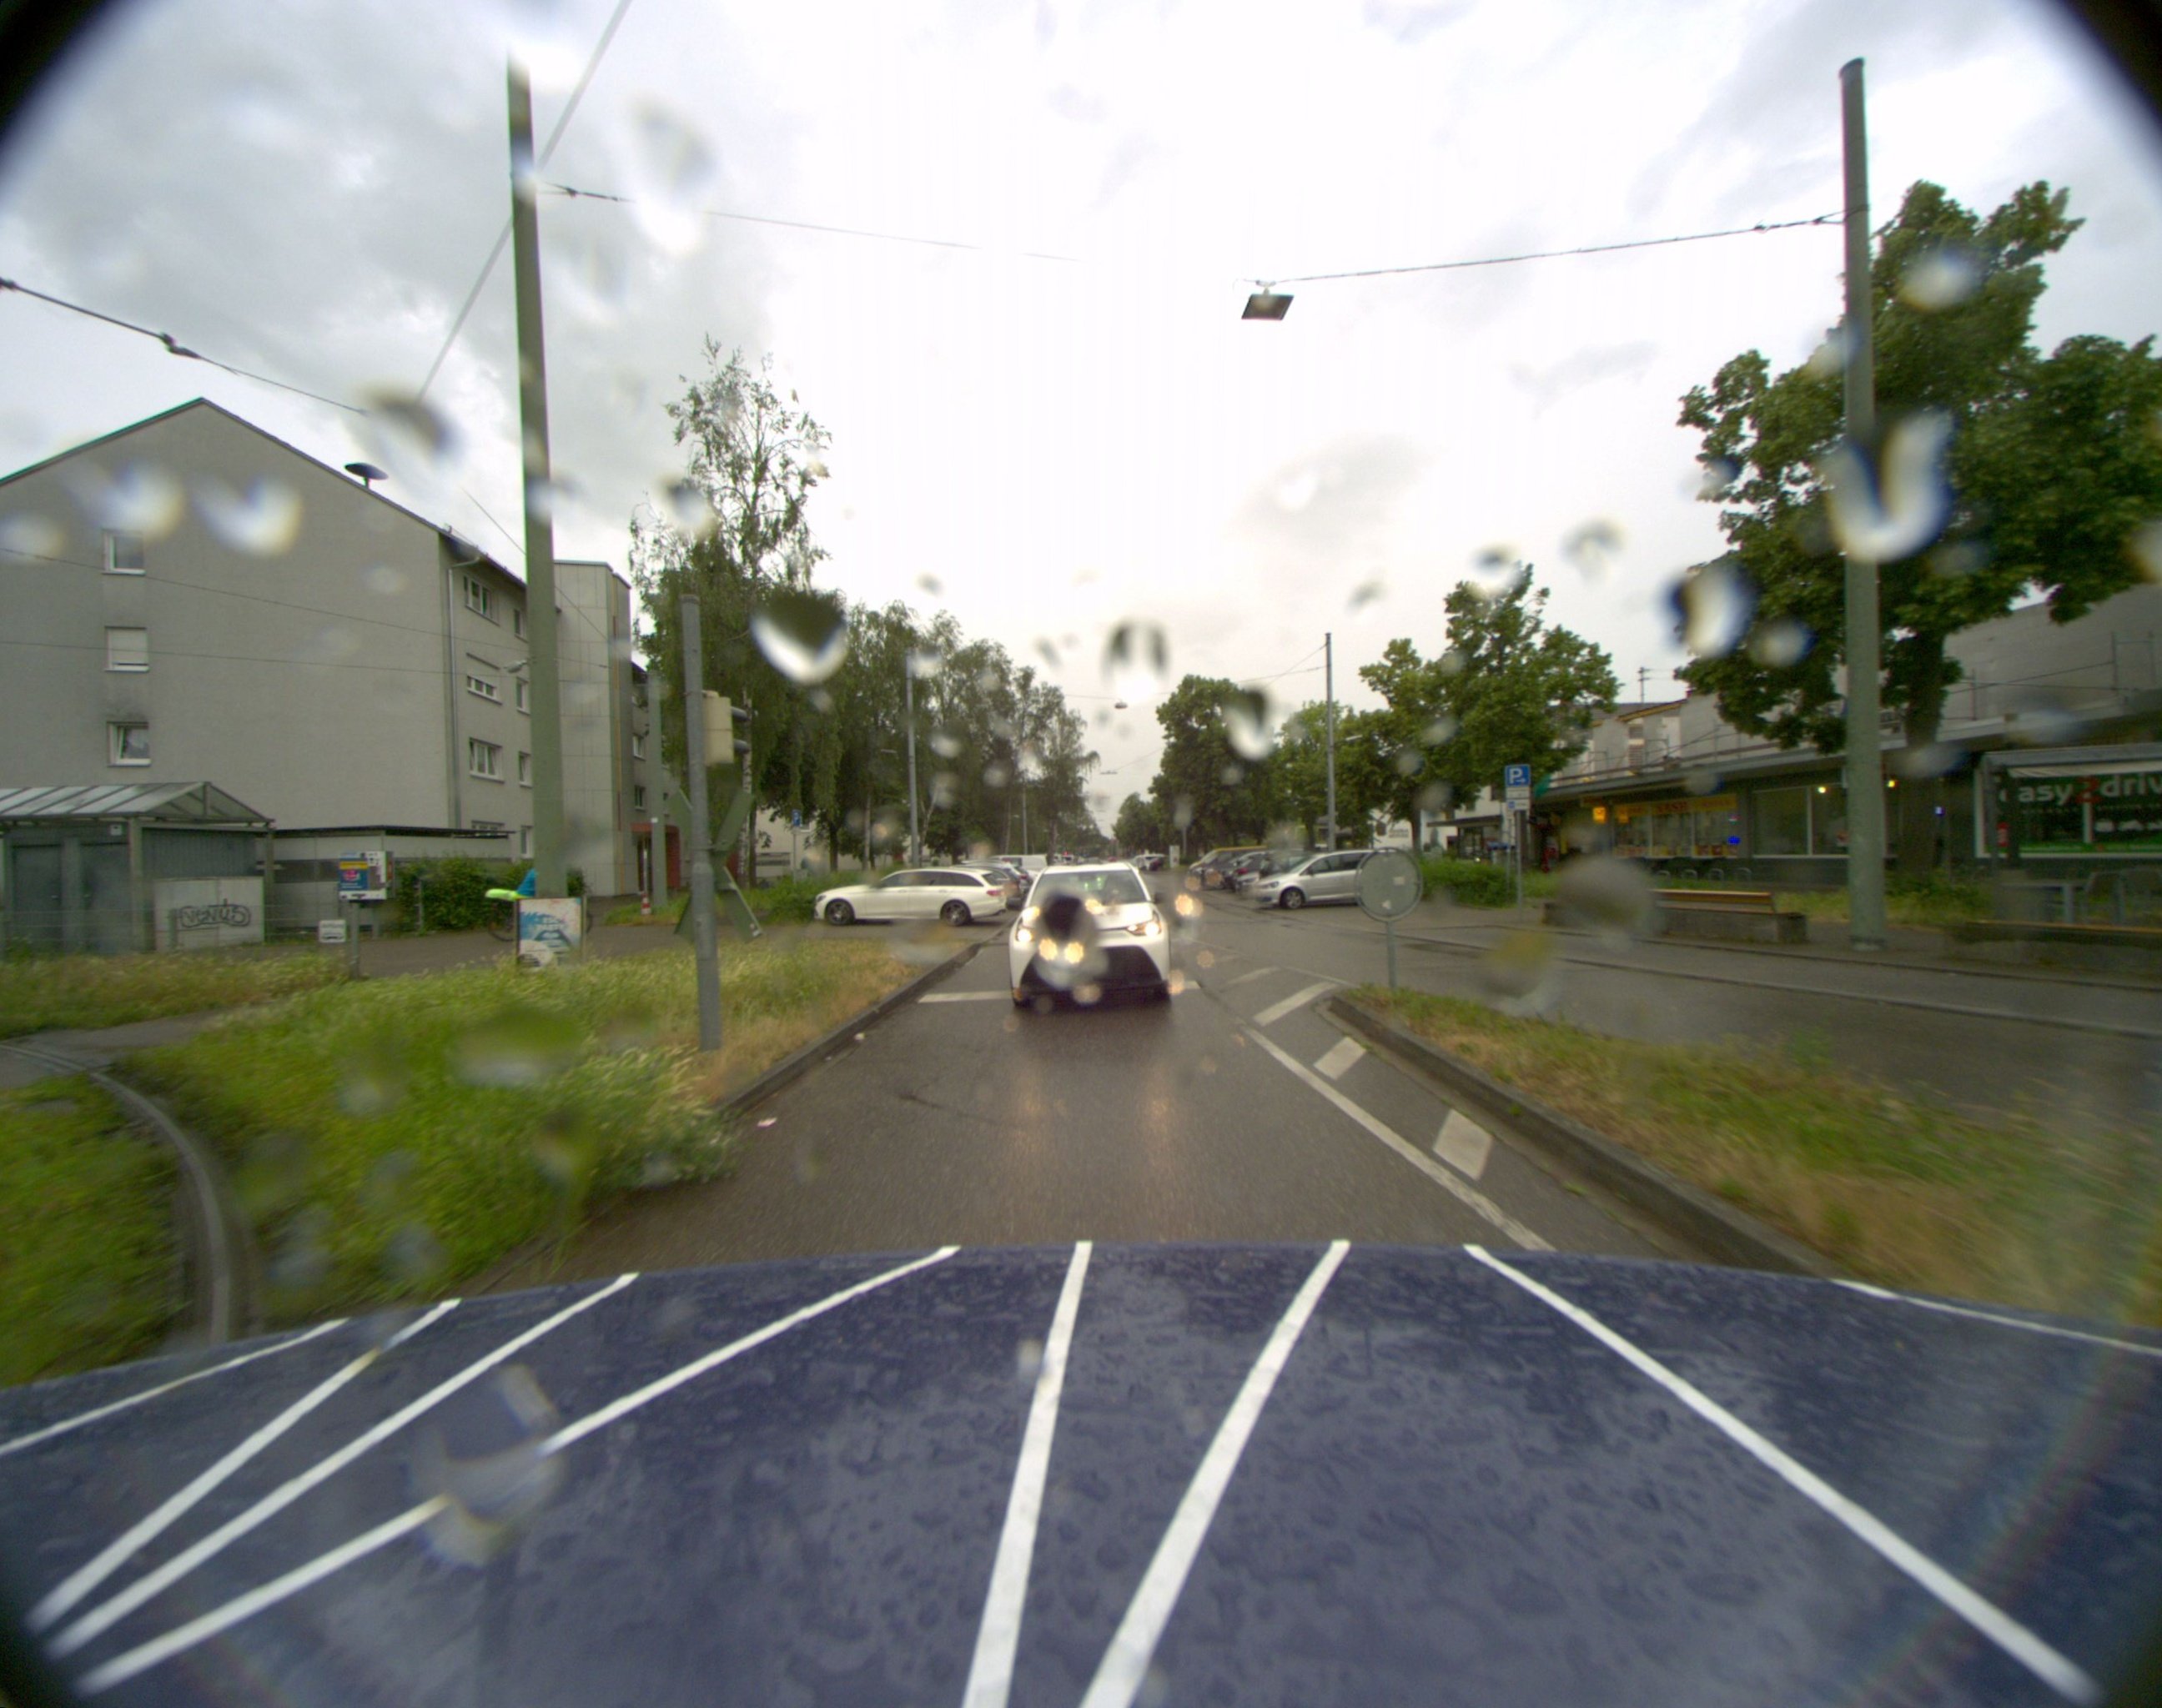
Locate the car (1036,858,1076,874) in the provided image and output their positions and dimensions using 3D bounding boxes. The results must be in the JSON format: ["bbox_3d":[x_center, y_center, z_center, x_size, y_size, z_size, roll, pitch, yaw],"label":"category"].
[{"bbox_3d":[-2.859,1.382,88.441,4.546,1.574,1.899,-3,0,0],"label":"car"}]

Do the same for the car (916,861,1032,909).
[{"bbox_3d":[-3.960,1.142,28.534,3.996,1.477,1.723,-3,0,2],"label":"car"}]

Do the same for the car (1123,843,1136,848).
[{"bbox_3d":[15.960,-2.769,248.332,3.997,1.688,2.000,-3,0,1],"label":"car"}]

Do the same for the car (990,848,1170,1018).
[{"bbox_3d":[0.100,0.840,9.329,1.719,1.613,3.717,-2,-2,3],"label":"car"}]

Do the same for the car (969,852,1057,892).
[{"bbox_3d":[-3.630,0.969,41.058,4.441,1.835,1.723,-3,0,2],"label":"car"}]

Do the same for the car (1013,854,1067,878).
[{"bbox_3d":[-3.532,1.039,66.468,4.546,1.931,1.899,-3,0,0],"label":"car"}]

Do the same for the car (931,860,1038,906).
[{"bbox_3d":[-3.902,1.158,31.140,3.996,1.576,1.723,-3,0,2],"label":"car"}]

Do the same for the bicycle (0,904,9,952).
[{"bbox_3d":[-21.990,1.505,14.786,0.377,0.950,1.238,-3,0,4],"label":"bicycle"}]

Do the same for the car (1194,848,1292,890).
[{"bbox_3d":[7.453,0.682,35.262,4.088,1.699,1.899,-3,0,0],"label":"car"}]

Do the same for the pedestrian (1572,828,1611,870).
[{"bbox_3d":[21.387,-0.214,31.861,1.078,1.704,0.948,-1,1,12],"label":"pedestrian"}]

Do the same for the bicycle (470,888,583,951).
[{"bbox_3d":[-11.178,1.284,15.346,1.757,1.123,0.726,-1,-1,-42],"label":"bicycle"}]

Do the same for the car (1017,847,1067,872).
[{"bbox_3d":[-3.626,0.476,70.659,4.443,2.050,1.722,-3,0,-2],"label":"car"}]

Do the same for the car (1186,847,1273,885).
[{"bbox_3d":[8.025,0.658,41.322,4.302,1.799,1.899,-3,0,0],"label":"car"}]

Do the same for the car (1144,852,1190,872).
[{"bbox_3d":[9.153,0.840,81.204,4.546,1.931,1.899,-3,0,0],"label":"car"}]

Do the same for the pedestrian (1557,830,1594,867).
[{"bbox_3d":[21.609,-0.228,33.237,1.078,1.575,0.948,-1,1,12],"label":"pedestrian"}]

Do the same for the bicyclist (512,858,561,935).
[{"bbox_3d":[-11.076,0.845,15.461,0.700,1.507,0.723,-2,-1,-42],"label":"bicyclist"}]

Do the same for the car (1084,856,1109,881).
[{"bbox_3d":[1.298,1.208,66.936,1.998,2.002,4.000,-3,0,0],"label":"car"}]

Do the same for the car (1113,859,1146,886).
[{"bbox_3d":[3.232,1.225,51.115,1.962,1.544,3.999,-2,2,1],"label":"car"}]

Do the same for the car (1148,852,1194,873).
[{"bbox_3d":[9.326,0.897,79.084,4.546,1.931,1.899,-3,0,0],"label":"car"}]

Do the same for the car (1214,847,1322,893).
[{"bbox_3d":[7.876,0.675,32.269,4.088,1.699,1.899,-3,0,0],"label":"car"}]

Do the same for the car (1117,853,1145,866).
[{"bbox_3d":[8.460,0.884,127.940,4.546,1.931,1.899,-3,0,0],"label":"car"}]

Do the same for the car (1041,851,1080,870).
[{"bbox_3d":[-2.405,0.758,91.796,4.546,2.013,1.899,-3,0,0],"label":"car"}]

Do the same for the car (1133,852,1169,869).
[{"bbox_3d":[9.288,0.854,101.536,4.546,1.931,1.899,-3,0,0],"label":"car"}]

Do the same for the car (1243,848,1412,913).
[{"bbox_3d":[7.248,0.768,22.684,4.334,1.664,2.000,-3,0,0],"label":"car"}]

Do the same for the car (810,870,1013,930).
[{"bbox_3d":[-4.331,1.169,19.936,4.837,1.449,2.000,0,0,2],"label":"car"}]

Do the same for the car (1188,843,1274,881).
[{"bbox_3d":[8.695,0.470,44.316,4.546,1.931,1.899,-3,0,0],"label":"car"}]

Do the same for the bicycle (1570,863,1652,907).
[{"bbox_3d":[13.715,0.784,19.729,0.594,1.066,1.748,-1,0,-16],"label":"bicycle"}]

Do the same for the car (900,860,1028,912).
[{"bbox_3d":[-3.927,1.075,25.958,3.996,1.477,1.723,-3,0,2],"label":"car"}]

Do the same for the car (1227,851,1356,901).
[{"bbox_3d":[7.597,0.772,27.733,4.088,1.562,2.000,-3,0,0],"label":"car"}]

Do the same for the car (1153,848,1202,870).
[{"bbox_3d":[9.568,0.523,75.614,4.546,1.931,1.899,-3,0,0],"label":"car"}]

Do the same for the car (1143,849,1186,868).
[{"bbox_3d":[9.383,0.539,85.880,4.546,1.931,1.899,-3,0,0],"label":"car"}]

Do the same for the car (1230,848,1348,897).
[{"bbox_3d":[8.206,0.701,30.197,4.088,1.699,1.899,-3,0,0],"label":"car"}]

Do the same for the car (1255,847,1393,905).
[{"bbox_3d":[7.991,0.721,25.245,3.945,1.664,1.794,-3,0,0],"label":"car"}]

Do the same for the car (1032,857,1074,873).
[{"bbox_3d":[-3.067,1.261,85.050,4.546,1.574,1.899,-3,0,0],"label":"car"}]

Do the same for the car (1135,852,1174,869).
[{"bbox_3d":[9.264,0.846,95.949,4.546,1.931,1.899,-3,0,0],"label":"car"}]

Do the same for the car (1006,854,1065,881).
[{"bbox_3d":[-3.589,1.058,61.117,4.546,1.931,1.899,-3,0,0],"label":"car"}]

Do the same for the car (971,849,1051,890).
[{"bbox_3d":[-3.996,0.893,43.964,4.443,2.050,1.722,-3,0,-2],"label":"car"}]

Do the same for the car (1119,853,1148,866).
[{"bbox_3d":[8.515,0.880,124.320,4.546,1.931,1.899,-3,0,0],"label":"car"}]

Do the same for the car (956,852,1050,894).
[{"bbox_3d":[-3.941,0.926,38.800,4.441,1.835,1.723,-3,0,2],"label":"car"}]

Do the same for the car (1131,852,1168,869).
[{"bbox_3d":[8.889,0.874,98.578,4.546,1.931,1.899,-3,0,0],"label":"car"}]
